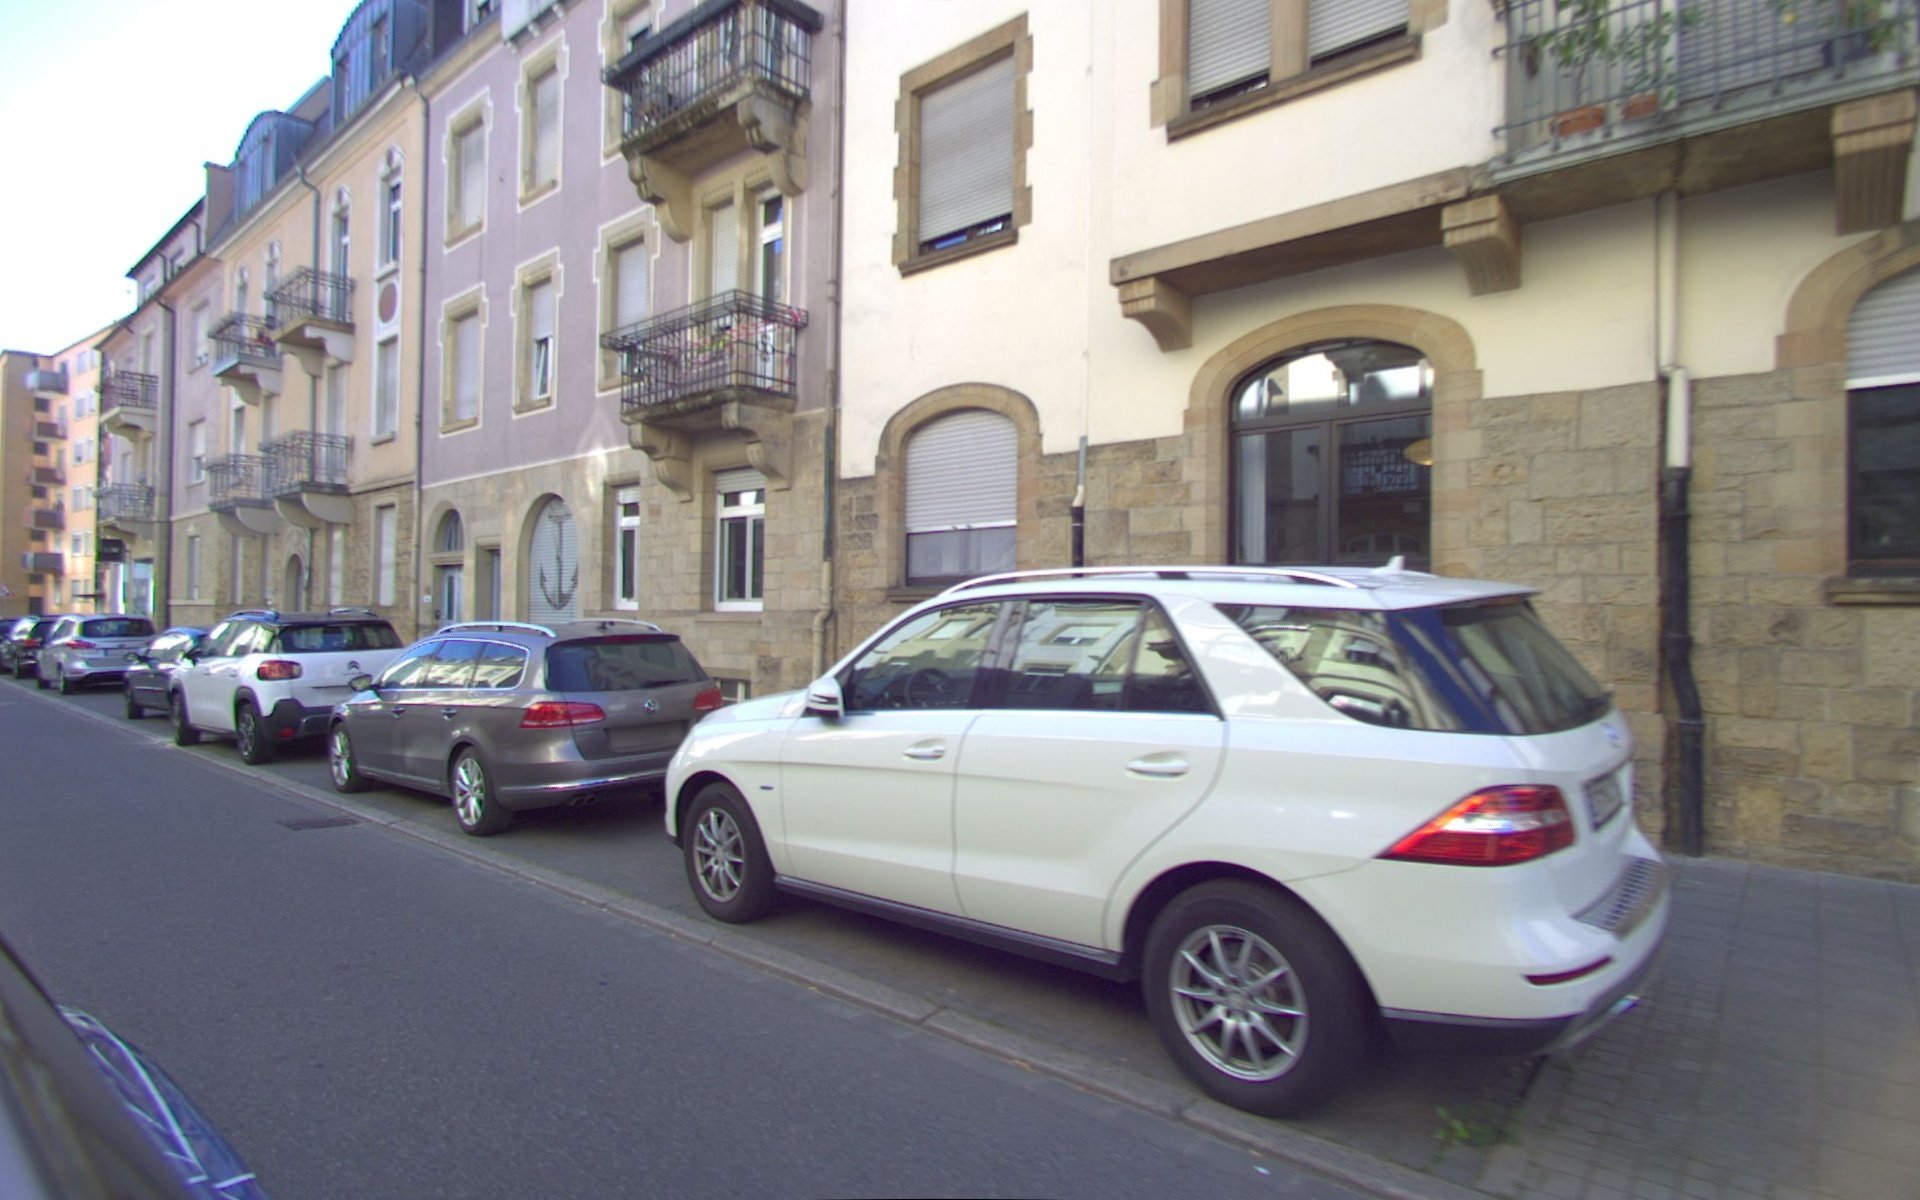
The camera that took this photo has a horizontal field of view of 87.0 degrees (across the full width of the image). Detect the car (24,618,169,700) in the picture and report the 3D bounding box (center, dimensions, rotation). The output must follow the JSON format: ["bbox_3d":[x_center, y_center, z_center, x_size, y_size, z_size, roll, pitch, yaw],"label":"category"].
[{"bbox_3d":[-18.026,1.159,21.083,3.720,1.550,1.697,-1,-1,40],"label":"car"}]

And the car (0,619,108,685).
[{"bbox_3d":[-23.012,1.253,25.489,4.107,1.533,1.697,-1,-2,41],"label":"car"}]

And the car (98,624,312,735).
[{"bbox_3d":[-11.487,1.108,15.333,3.660,1.403,1.657,-1,1,38],"label":"car"}]

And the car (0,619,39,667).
[{"bbox_3d":[-30.763,1.361,32.248,3.863,1.397,1.697,-1,1,42],"label":"car"}]

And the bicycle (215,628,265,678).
[{"bbox_3d":[-18.141,1.314,25.501,1.647,1.221,0.562,-1,-3,39],"label":"bicycle"}]

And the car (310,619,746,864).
[{"bbox_3d":[-3.720,0.924,8.311,4.277,1.498,1.558,-1,0,40],"label":"car"}]

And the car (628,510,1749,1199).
[{"bbox_3d":[0.534,0.681,4.660,4.726,1.735,1.871,-1,0,43],"label":"car"}]

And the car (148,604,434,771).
[{"bbox_3d":[-8.012,0.905,11.987,4.017,1.595,1.698,-1,1,40],"label":"car"}]
